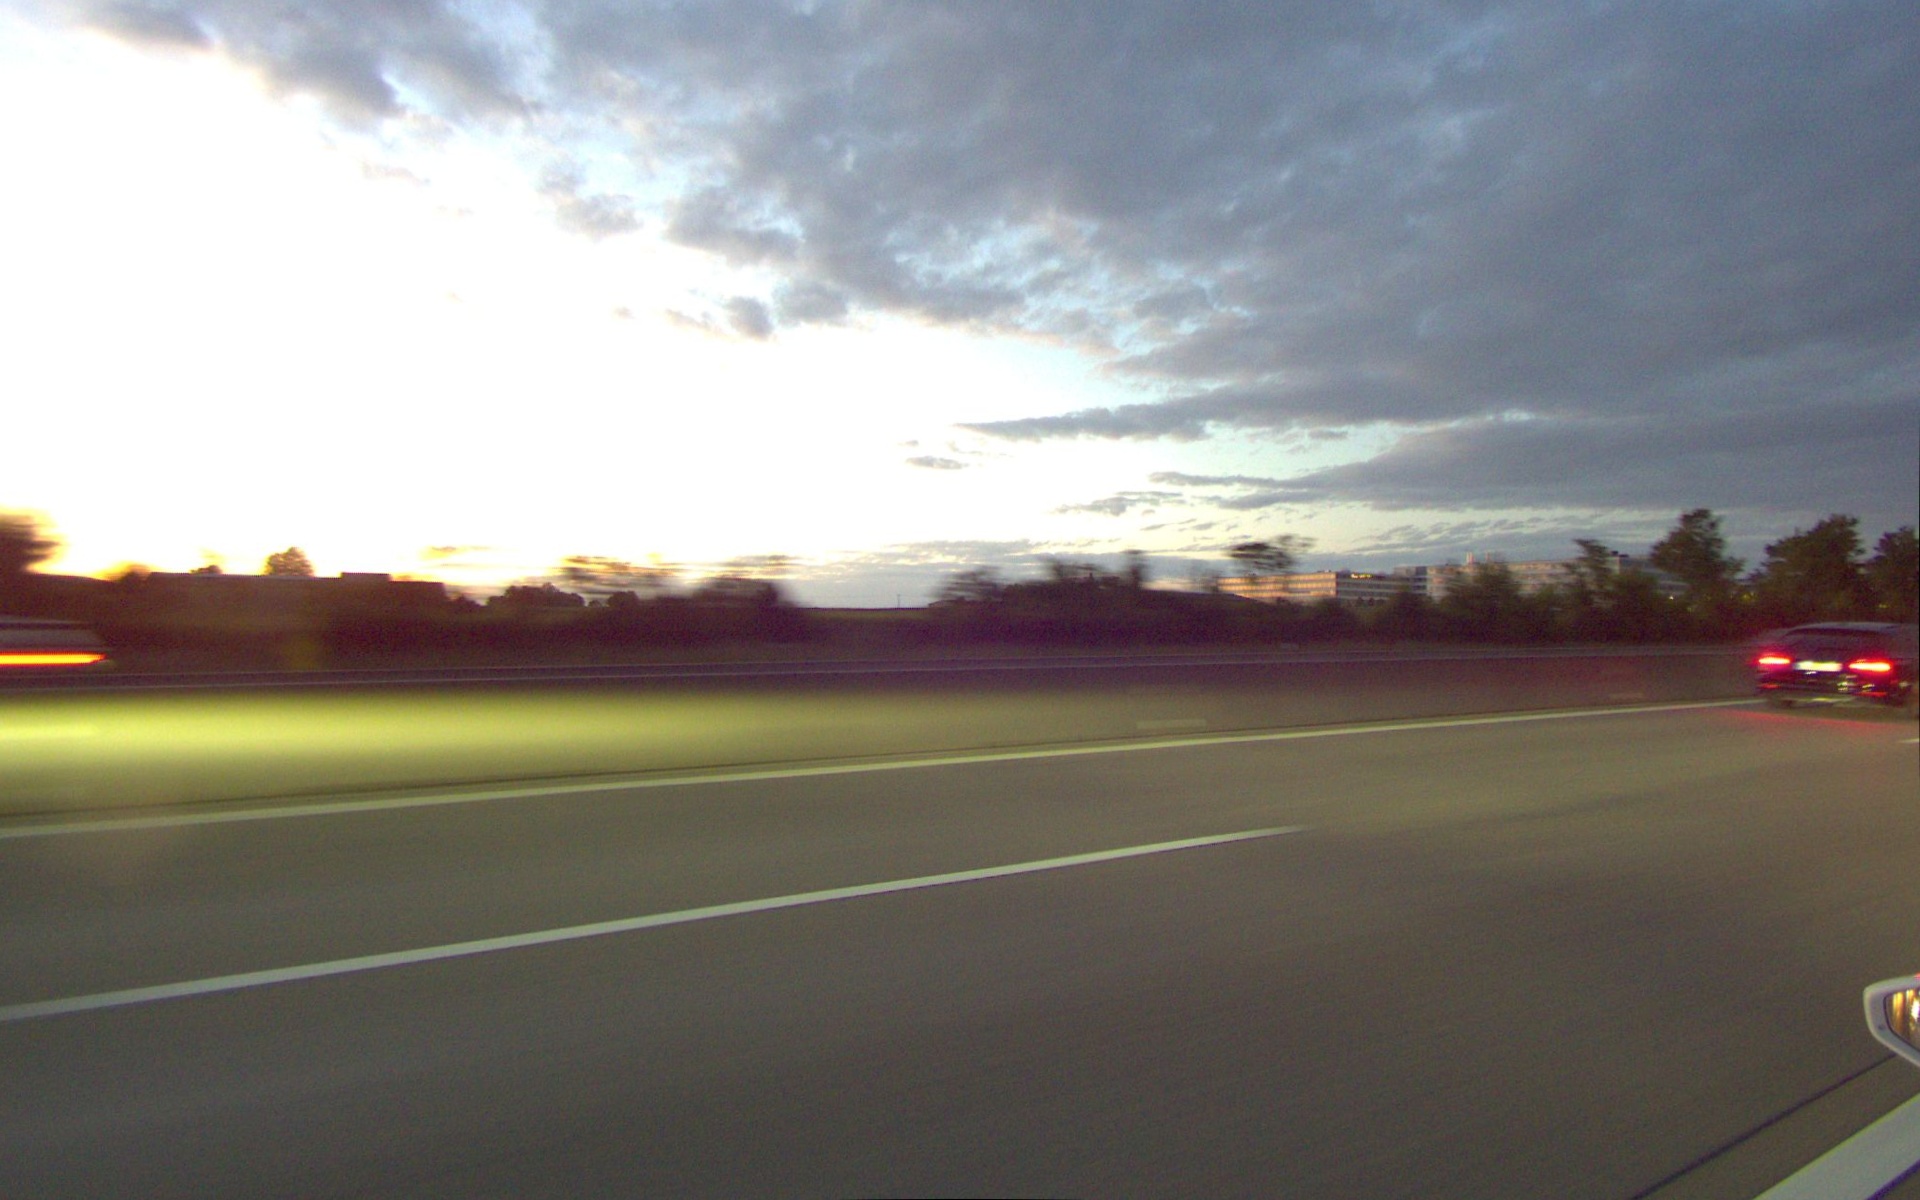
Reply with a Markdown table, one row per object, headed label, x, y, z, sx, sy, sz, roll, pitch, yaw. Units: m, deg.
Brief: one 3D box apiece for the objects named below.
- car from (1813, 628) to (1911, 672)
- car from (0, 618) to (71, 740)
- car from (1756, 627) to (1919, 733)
| label | x | y | z | sx | sy | sz | roll | pitch | yaw |
| --- | --- | --- | --- | --- | --- | --- | --- | --- | --- |
| car | 38.267 | 2.125 | 42.600 | 3.953 | 1.726 | 1.984 | 2 | 0 | -30 |
| car | -14.447 | 0.975 | 12.716 | 4.468 | 1.518 | 1.735 | 2 | 0 | -31 |
| car | 15.364 | 1.209 | 16.507 | 5.332 | 1.456 | 1.805 | 1 | 0 | -31 |
